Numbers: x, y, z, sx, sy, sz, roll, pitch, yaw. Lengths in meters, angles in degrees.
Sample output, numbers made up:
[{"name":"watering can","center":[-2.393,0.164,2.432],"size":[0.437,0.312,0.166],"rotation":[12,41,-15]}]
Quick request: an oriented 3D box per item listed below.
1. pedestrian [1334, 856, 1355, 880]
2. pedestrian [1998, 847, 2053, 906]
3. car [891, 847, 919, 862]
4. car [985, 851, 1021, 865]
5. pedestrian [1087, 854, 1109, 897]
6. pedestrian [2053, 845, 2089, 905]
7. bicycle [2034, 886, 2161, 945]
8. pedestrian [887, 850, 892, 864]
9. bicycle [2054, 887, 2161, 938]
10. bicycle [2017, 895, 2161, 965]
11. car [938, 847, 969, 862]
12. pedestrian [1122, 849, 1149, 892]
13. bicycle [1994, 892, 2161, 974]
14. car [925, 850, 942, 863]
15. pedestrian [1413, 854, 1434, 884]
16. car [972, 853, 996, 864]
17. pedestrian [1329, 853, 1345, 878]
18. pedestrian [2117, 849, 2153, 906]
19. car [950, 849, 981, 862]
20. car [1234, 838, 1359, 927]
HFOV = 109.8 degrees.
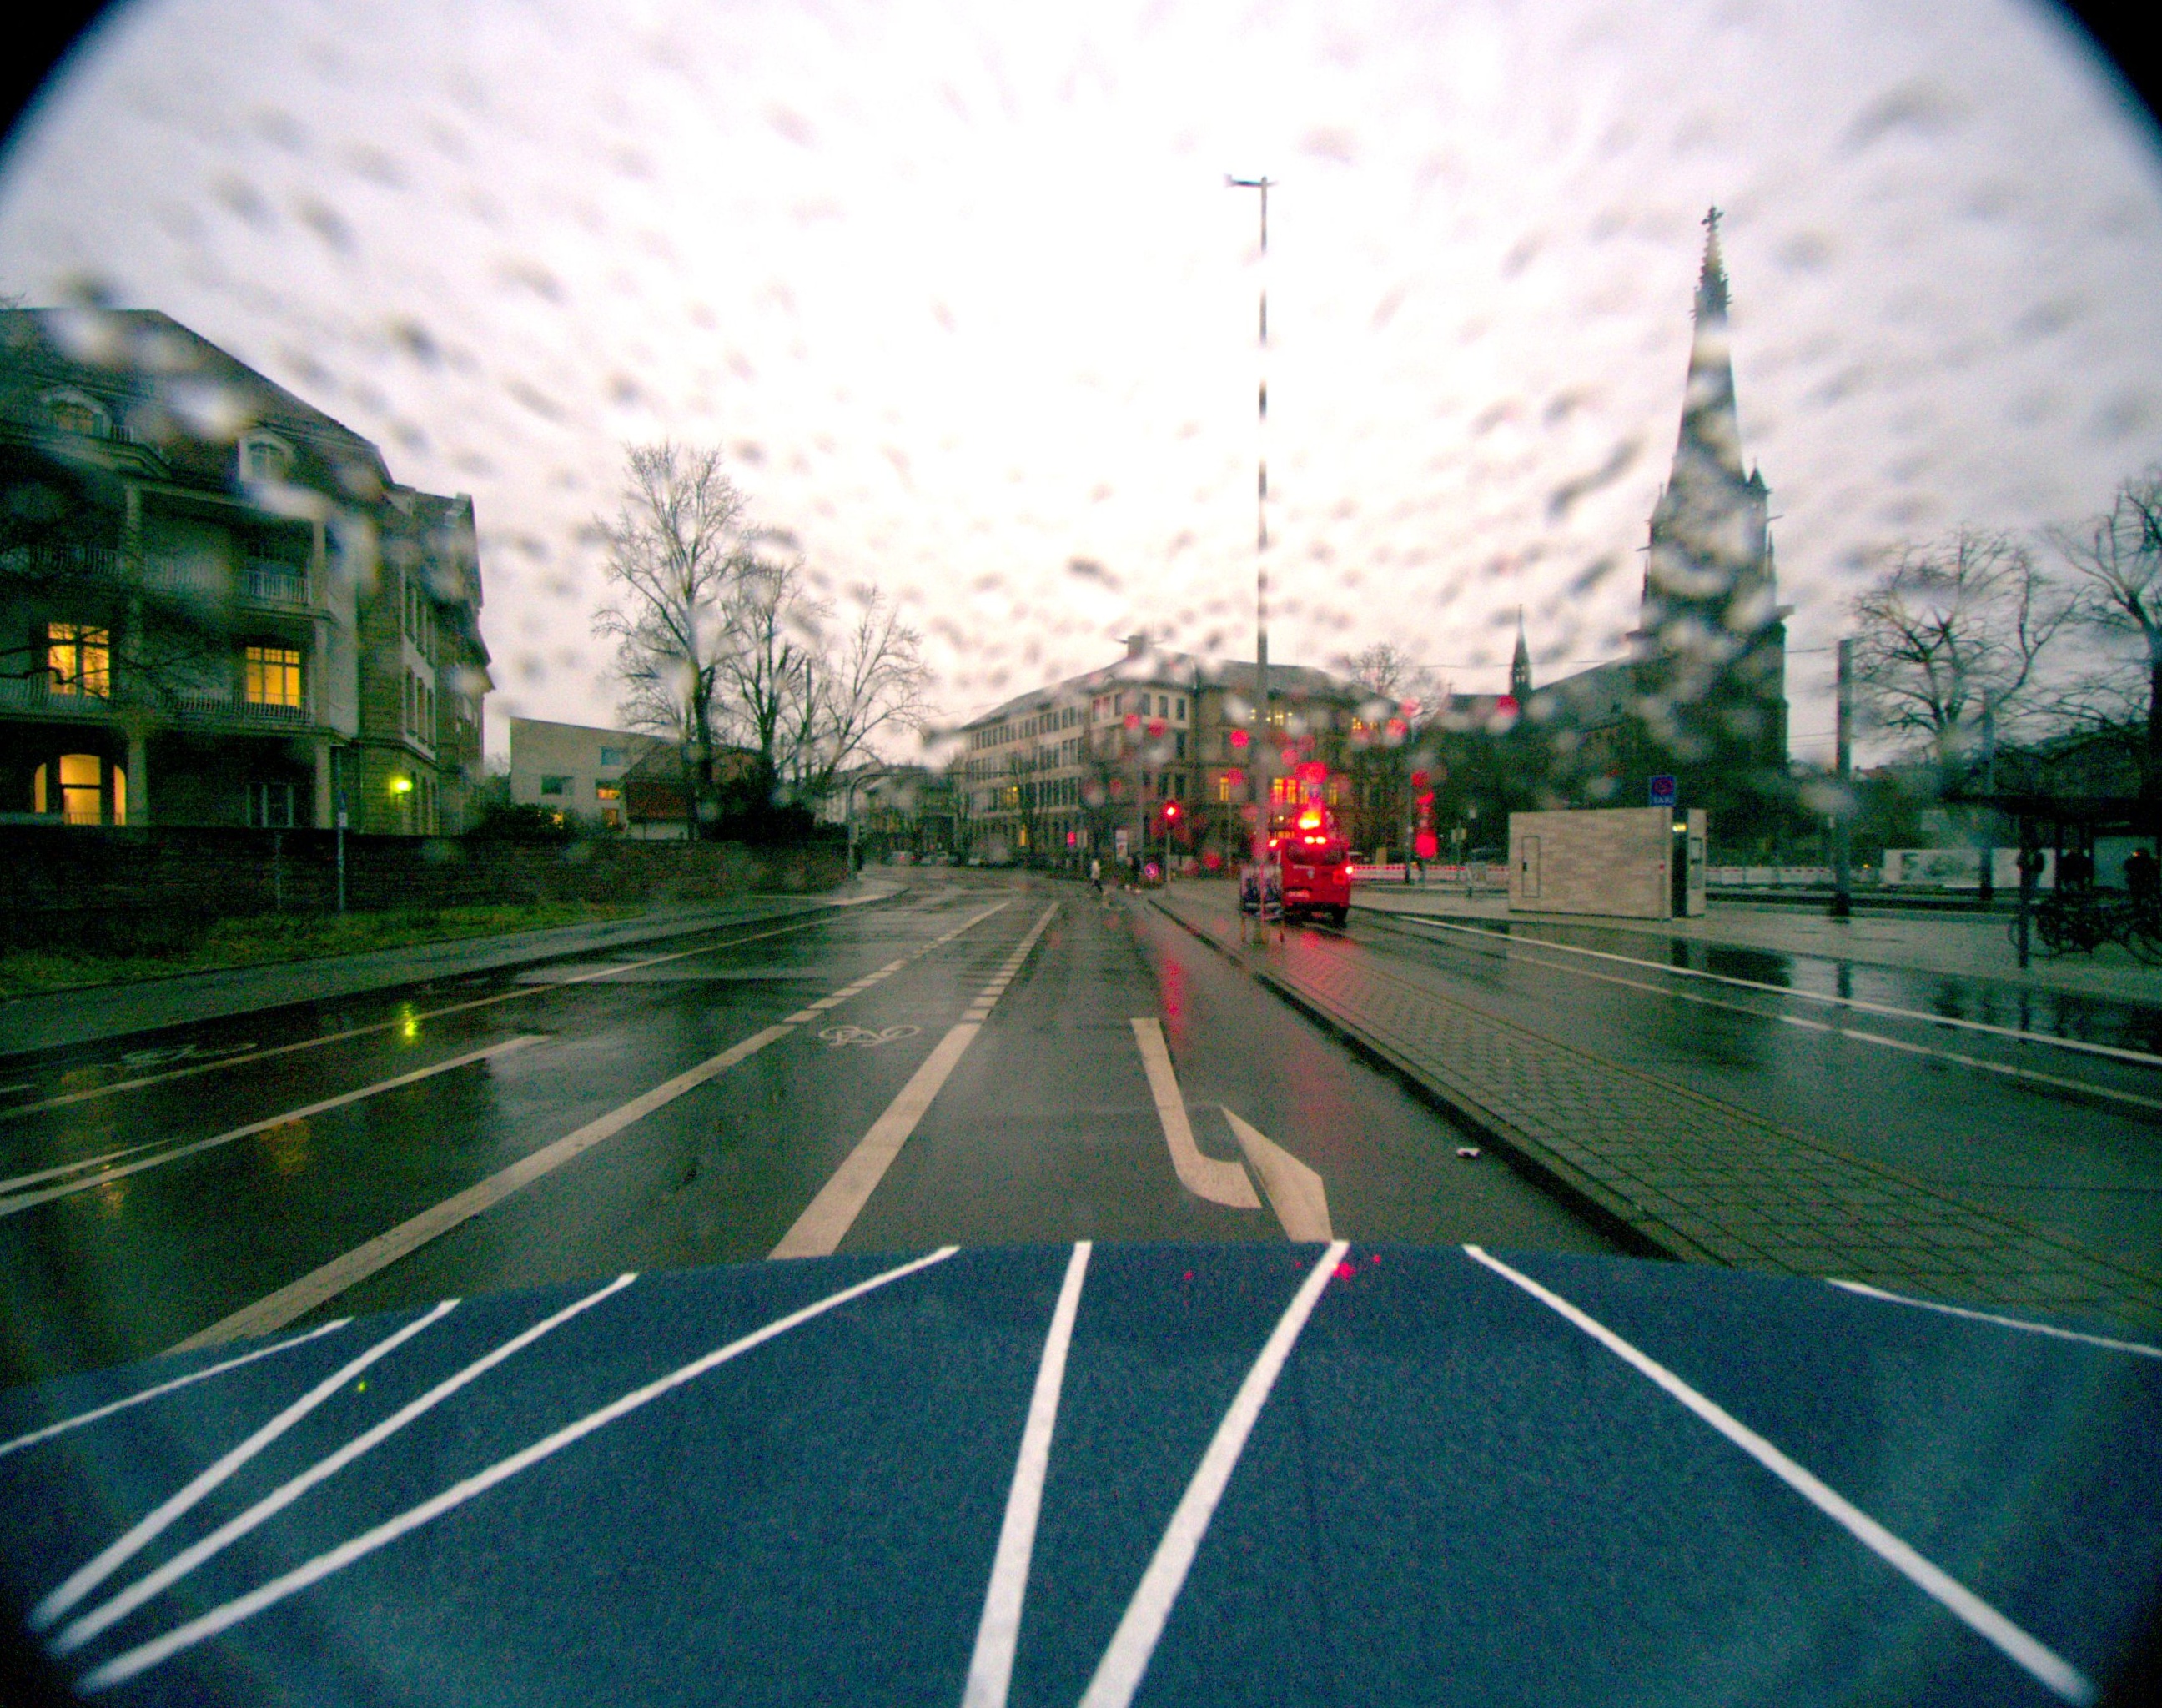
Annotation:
[{"name":"pedestrian","center":[18.261,0.949,52.630],"size":[0.774,1.651,1.206],"rotation":[-2,1,-14]},{"name":"pedestrian","center":[29.126,0.681,23.434],"size":[0.670,1.785,0.826],"rotation":[-2,1,-6]},{"name":"car","center":[-23.306,0.048,100.368],"size":[1.887,1.835,3.989],"rotation":[-3,1,-40]},{"name":"car","center":[-9.279,0.479,90.532],"size":[1.797,1.541,4.007],"rotation":[-1,1,45]},{"name":"pedestrian","center":[0.690,0.846,30.765],"size":[0.798,1.713,0.674],"rotation":[1,1,-5]},{"name":"pedestrian","center":[30.235,0.641,23.210],"size":[0.673,1.785,0.626],"rotation":[-3,2,-41]},{"name":"bicycle","center":[19.691,1.167,14.423],"size":[0.475,0.980,1.921],"rotation":[-2,2,-30]},{"name":"pedestrian","center":[-29.351,0.452,116.422],"size":[0.548,2.002,0.473],"rotation":[0,1,-33]},{"name":"bicycle","center":[20.847,1.159,15.012],"size":[0.475,0.905,1.921],"rotation":[-2,2,-30]},{"name":"bicycle","center":[16.616,1.212,12.211],"size":[0.475,0.980,1.921],"rotation":[-2,2,-30]},{"name":"car","center":[-16.994,0.073,101.467],"size":[2.043,1.889,4.007],"rotation":[-2,1,28]},{"name":"pedestrian","center":[2.414,0.729,33.442],"size":[1.000,1.890,0.673],"rotation":[1,1,-13]},{"name":"bicycle","center":[15.497,1.179,11.606],"size":[0.475,1.064,1.921],"rotation":[-2,2,-30]},{"name":"car","center":[-20.734,0.369,106.842],"size":[2.000,1.660,3.997],"rotation":[-2,1,-7]},{"name":"pedestrian","center":[22.122,0.960,49.110],"size":[0.675,1.890,0.971],"rotation":[0,1,-37]},{"name":"car","center":[-12.133,0.572,95.303],"size":[1.706,1.298,3.647],"rotation":[-2,1,16]},{"name":"pedestrian","center":[18.651,0.856,55.390],"size":[0.895,1.806,0.675],"rotation":[2,2,43]},{"name":"pedestrian","center":[31.047,0.691,22.381],"size":[0.541,1.642,0.562],"rotation":[-3,2,-41]},{"name":"car","center":[-15.090,0.197,99.402],"size":[1.797,1.541,4.007],"rotation":[-2,1,28]},{"name":"car","center":[5.467,0.656,19.971],"size":[1.929,2.058,4.643],"rotation":[1,0,0]}]
